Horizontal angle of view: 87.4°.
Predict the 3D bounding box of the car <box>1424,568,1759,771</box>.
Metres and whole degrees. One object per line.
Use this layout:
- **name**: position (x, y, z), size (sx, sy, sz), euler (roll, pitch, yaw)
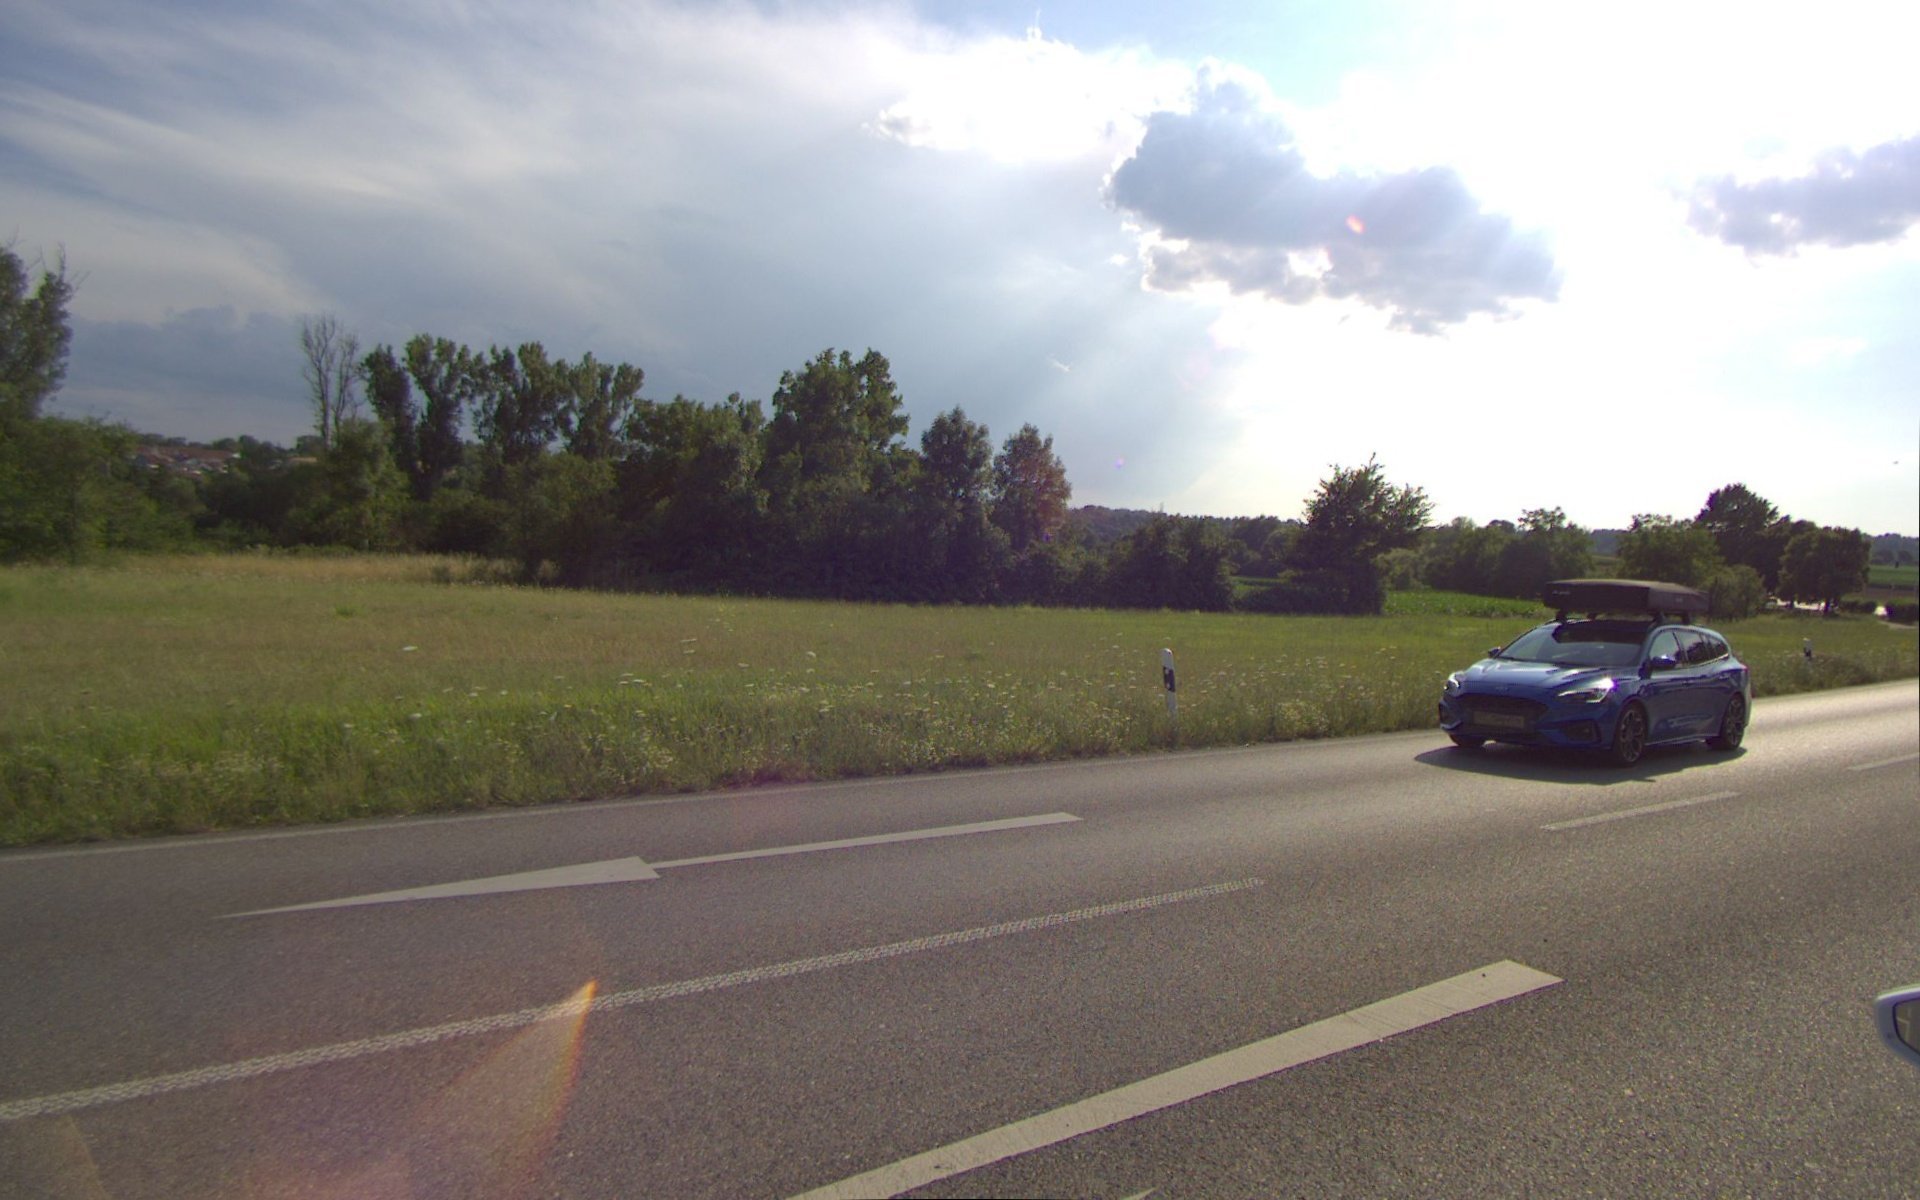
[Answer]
- **car**: position (7.265, 0.693, 11.405), size (4.292, 1.907, 1.713), euler (1, -1, -35)
